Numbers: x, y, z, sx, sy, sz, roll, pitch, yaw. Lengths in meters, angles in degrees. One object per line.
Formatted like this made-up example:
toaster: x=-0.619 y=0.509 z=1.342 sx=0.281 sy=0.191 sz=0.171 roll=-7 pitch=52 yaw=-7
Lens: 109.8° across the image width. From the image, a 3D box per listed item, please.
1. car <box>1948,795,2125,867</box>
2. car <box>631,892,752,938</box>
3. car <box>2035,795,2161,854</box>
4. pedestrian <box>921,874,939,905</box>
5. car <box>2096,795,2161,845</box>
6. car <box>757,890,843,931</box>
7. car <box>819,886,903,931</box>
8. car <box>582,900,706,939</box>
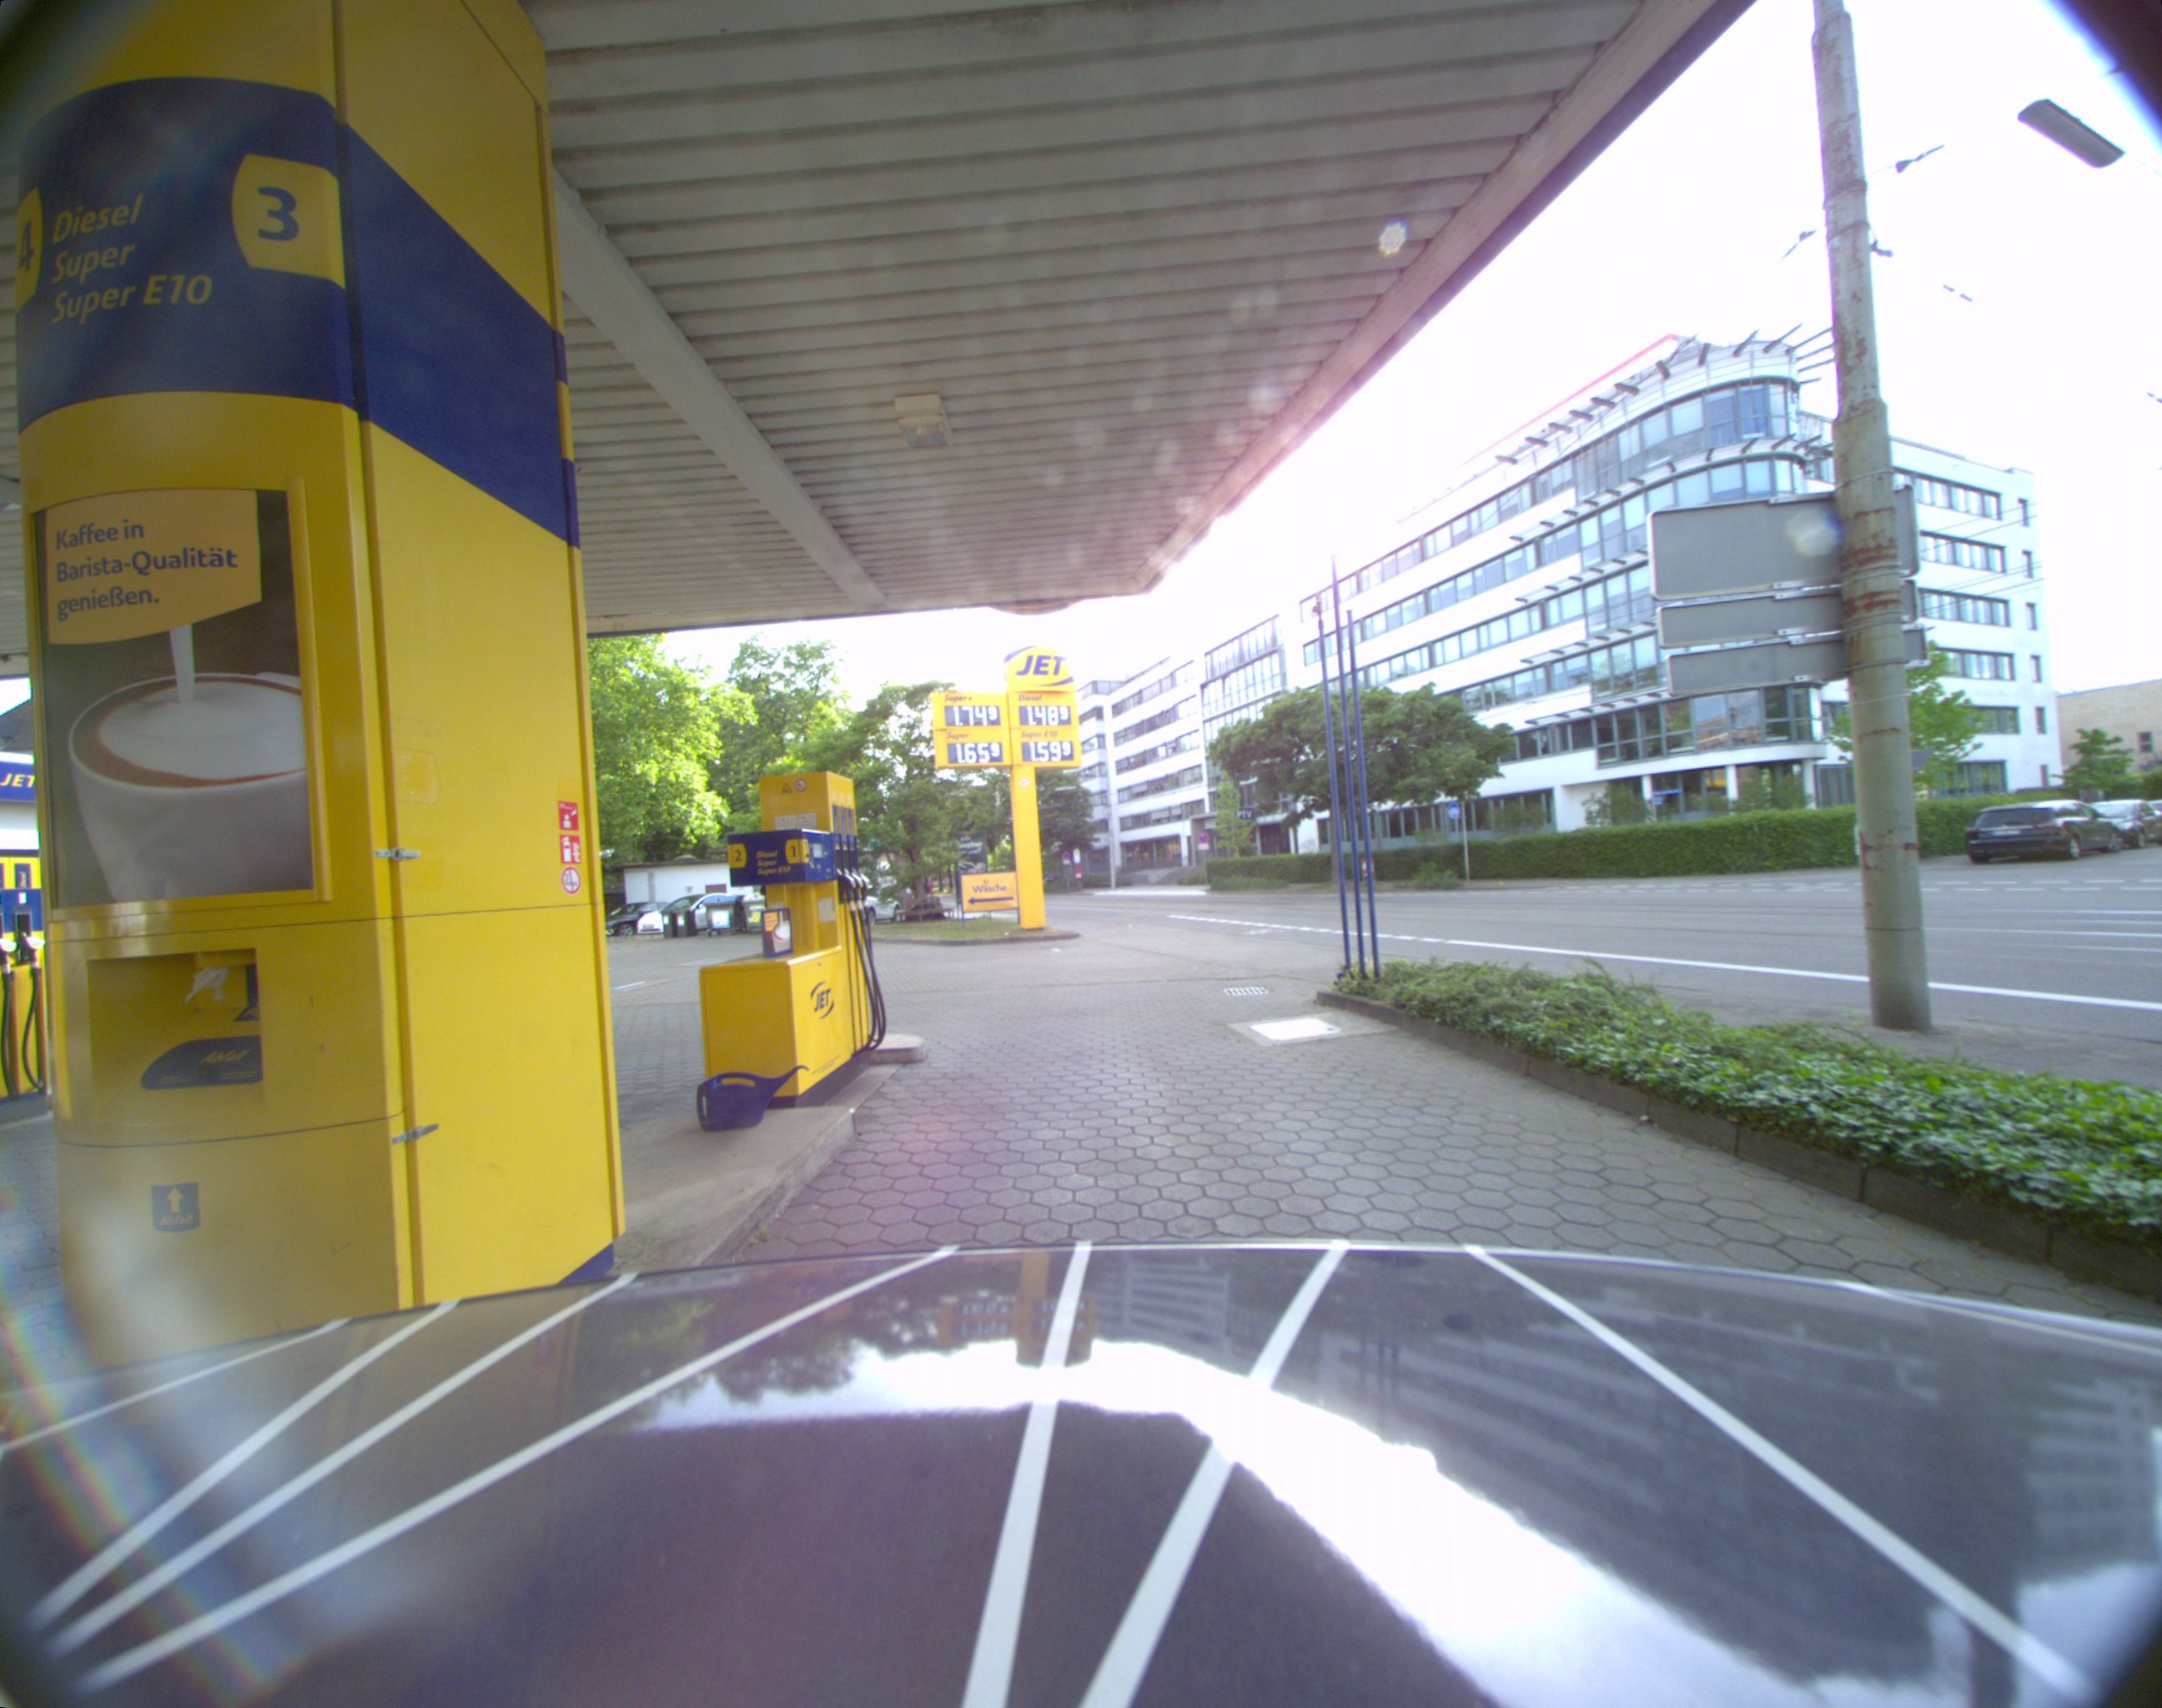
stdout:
car: x=27.374 y=-0.648 z=21.769 sx=4.438 sy=1.603 sz=1.976 roll=-5 pitch=-1 yaw=-23
car: x=-15.362 y=2.389 z=30.251 sx=1.785 sy=1.514 sz=4.229 roll=-4 pitch=-3 yaw=17
car: x=32.489 y=-0.941 z=24.040 sx=4.109 sy=1.544 sz=1.786 roll=-4 pitch=-1 yaw=-23
pedestrian: x=-10.314 y=2.411 z=51.832 sx=0.934 sy=2.001 sz=1.214 roll=-2 pitch=-1 yaw=-21
car: x=37.149 y=-1.236 z=26.079 sx=4.109 sy=1.544 sz=1.786 roll=-4 pitch=-1 yaw=-23
car: x=-11.804 y=2.328 z=32.240 sx=1.739 sy=1.500 sz=4.004 roll=-4 pitch=-2 yaw=6
car: x=-8.688 y=2.121 z=30.378 sx=1.739 sy=1.500 sz=4.003 roll=-4 pitch=-2 yaw=6
car: x=-17.748 y=2.638 z=31.067 sx=1.745 sy=1.269 sz=4.230 roll=-5 pitch=-3 yaw=19
